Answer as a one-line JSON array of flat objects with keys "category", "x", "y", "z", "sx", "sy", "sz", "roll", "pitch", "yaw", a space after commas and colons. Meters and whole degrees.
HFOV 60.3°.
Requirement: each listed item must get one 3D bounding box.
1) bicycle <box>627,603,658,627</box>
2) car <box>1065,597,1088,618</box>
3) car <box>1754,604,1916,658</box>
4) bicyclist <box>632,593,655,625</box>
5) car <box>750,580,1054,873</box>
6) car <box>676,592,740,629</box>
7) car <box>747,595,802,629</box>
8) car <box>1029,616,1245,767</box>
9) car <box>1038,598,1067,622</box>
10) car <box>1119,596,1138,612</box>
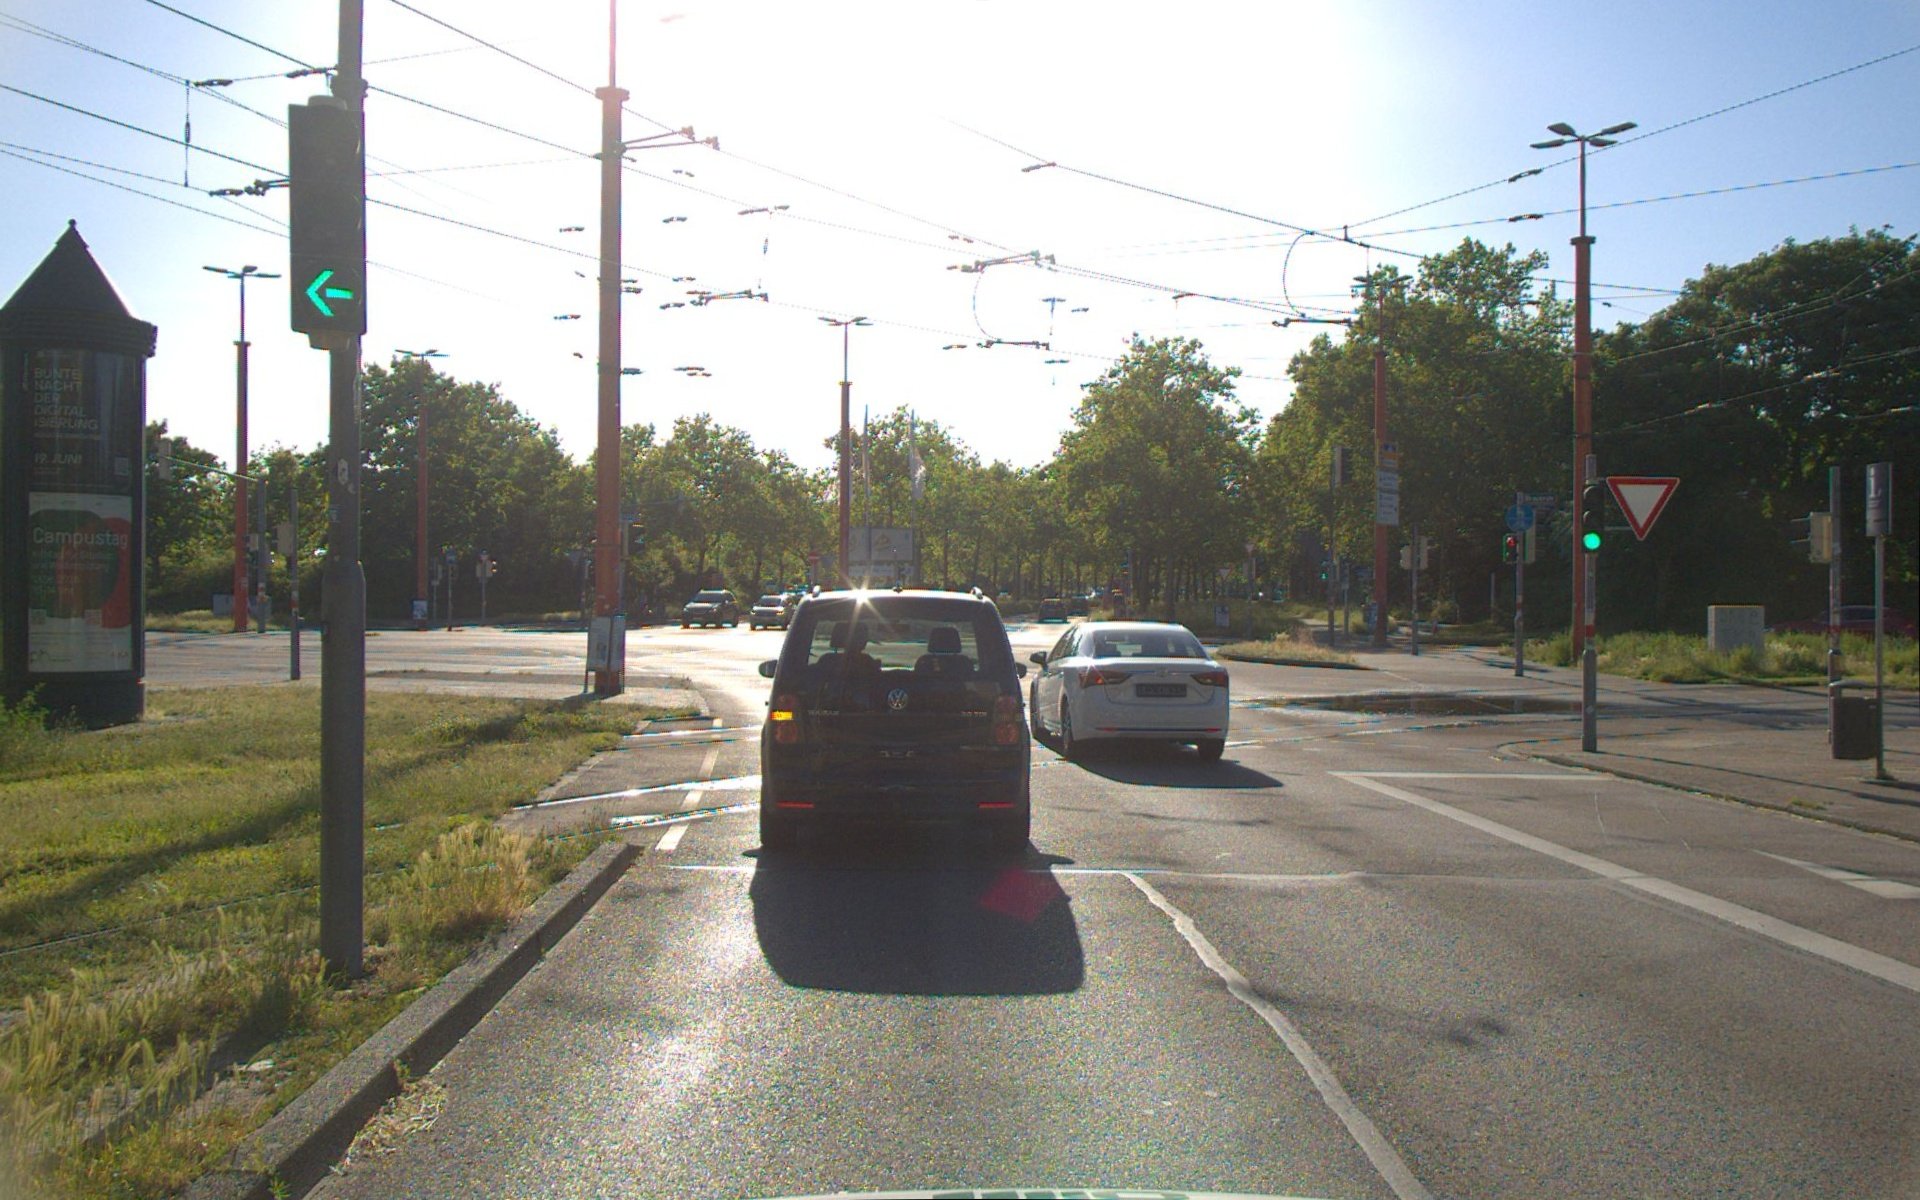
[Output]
[{"category": "bicycle", "x": -15.701, "y": 0.732, "z": 81.818, "sx": 0.747, "sy": 1.110, "sz": 2.017, "roll": 0, "pitch": 1, "yaw": 14}, {"category": "car", "x": 9.486, "y": 0.630, "z": 134.386, "sx": 1.833, "sy": 1.655, "sz": 4.002, "roll": 2, "pitch": -1, "yaw": 4}, {"category": "car", "x": 26.200, "y": 0.893, "z": 49.678, "sx": 4.190, "sy": 1.521, "sz": 1.999, "roll": 0, "pitch": 0, "yaw": 25}, {"category": "bicyclist", "x": -15.680, "y": 0.431, "z": 81.895, "sx": 0.743, "sy": 1.585, "sz": 0.982, "roll": 0, "pitch": 1, "yaw": 14}, {"category": "car", "x": -0.443, "y": 0.724, "z": 11.960, "sx": 1.732, "sy": 1.673, "sz": 4.920, "roll": 1, "pitch": 0, "yaw": -3}, {"category": "car", "x": -12.339, "y": 0.502, "z": 81.326, "sx": 1.862, "sy": 1.757, "sz": 4.657, "roll": 1, "pitch": 0, "yaw": 7}, {"category": "car", "x": -8.863, "y": 0.554, "z": 79.396, "sx": 1.730, "sy": 1.565, "sz": 4.094, "roll": 1, "pitch": 0, "yaw": 6}, {"category": "car", "x": 1.920, "y": 0.967, "z": 19.211, "sx": 1.733, "sy": 1.489, "sz": 4.362, "roll": 1, "pitch": 0, "yaw": -4}, {"category": "car", "x": 5.925, "y": 0.621, "z": 105.849, "sx": 1.752, "sy": 1.412, "sz": 4.051, "roll": 1, "pitch": 0, "yaw": 3}, {"category": "car", "x": 17.788, "y": 0.410, "z": 174.729, "sx": 1.751, "sy": 1.528, "sz": 4.053, "roll": 1, "pitch": 0, "yaw": 8}]
